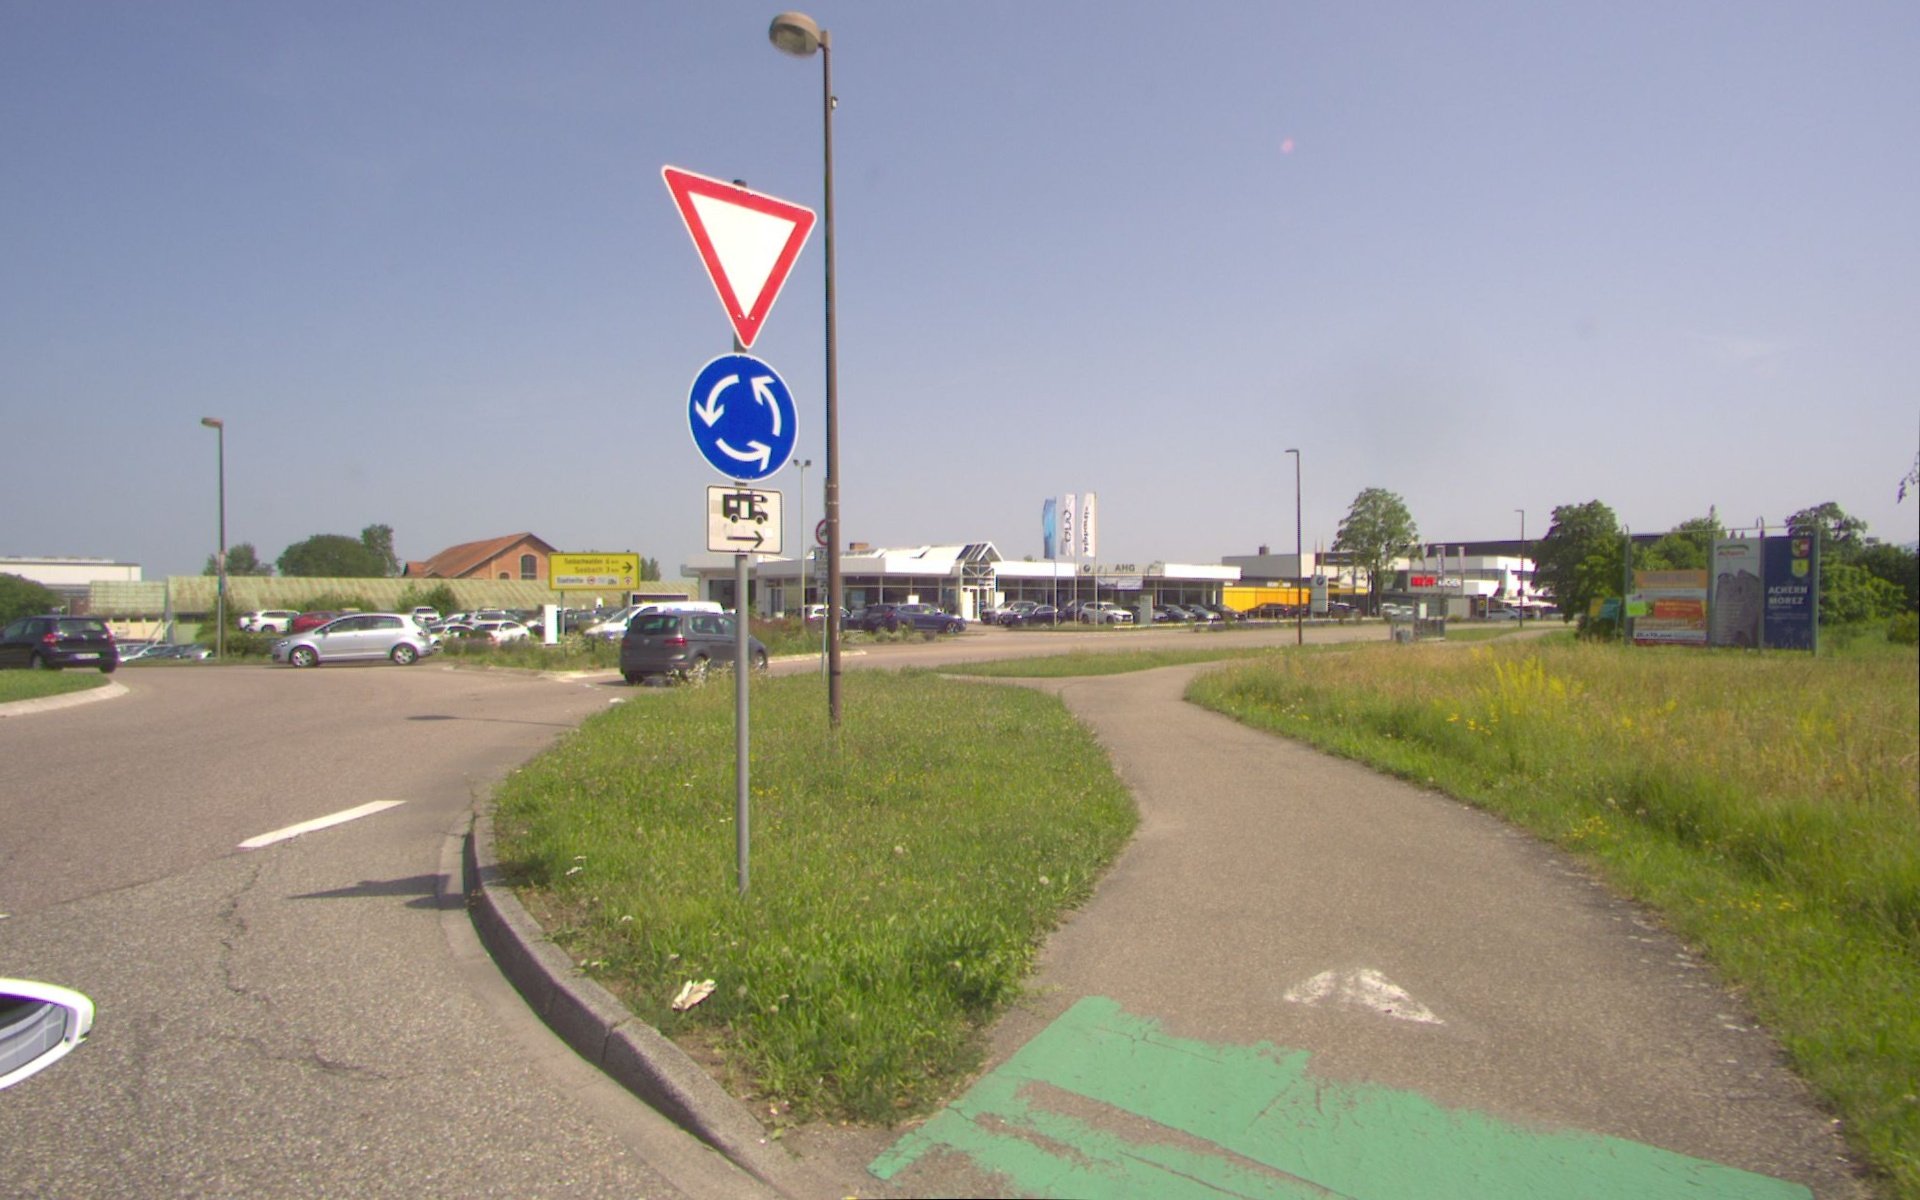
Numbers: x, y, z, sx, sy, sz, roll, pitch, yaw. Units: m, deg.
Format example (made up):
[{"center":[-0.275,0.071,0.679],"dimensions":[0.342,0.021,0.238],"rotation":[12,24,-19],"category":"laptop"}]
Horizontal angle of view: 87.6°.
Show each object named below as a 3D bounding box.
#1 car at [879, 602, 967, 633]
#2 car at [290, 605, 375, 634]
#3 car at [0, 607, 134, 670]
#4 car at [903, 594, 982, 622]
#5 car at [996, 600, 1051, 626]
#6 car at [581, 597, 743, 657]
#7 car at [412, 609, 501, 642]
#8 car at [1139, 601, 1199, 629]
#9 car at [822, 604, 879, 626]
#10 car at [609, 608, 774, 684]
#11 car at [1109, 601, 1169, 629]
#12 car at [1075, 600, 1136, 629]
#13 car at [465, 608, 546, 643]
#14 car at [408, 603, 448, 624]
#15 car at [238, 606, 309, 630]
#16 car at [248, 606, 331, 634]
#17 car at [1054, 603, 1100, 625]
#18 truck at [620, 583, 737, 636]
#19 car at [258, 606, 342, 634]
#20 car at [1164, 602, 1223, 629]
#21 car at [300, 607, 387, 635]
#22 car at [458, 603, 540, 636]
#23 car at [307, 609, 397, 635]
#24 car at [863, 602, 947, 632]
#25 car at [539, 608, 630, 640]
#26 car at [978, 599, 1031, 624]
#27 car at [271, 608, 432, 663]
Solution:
[{"center":[-1.947,0.871,51.620],"dimensions":[4.293,1.533,1.908],"rotation":[-1,0,-10],"category":"car"},{"center":[-40.804,1.257,65.202],"dimensions":[4.422,1.770,1.931],"rotation":[-1,0,-43],"category":"car"},{"center":[-23.750,1.019,26.464],"dimensions":[3.943,1.549,1.776],"rotation":[-2,-2,32],"category":"car"},{"center":[-1.032,0.442,57.974],"dimensions":[4.293,1.533,1.908],"rotation":[-1,0,-10],"category":"car"},{"center":[4.348,0.901,68.073],"dimensions":[3.657,1.675,1.569],"rotation":[1,-2,-40],"category":"car"},{"center":[-10.410,0.958,35.235],"dimensions":[5.167,1.962,1.848],"rotation":[1,-2,-37],"category":"car"},{"center":[-27.271,1.355,54.463],"dimensions":[1.736,1.591,4.572],"rotation":[-2,0,14],"category":"car"},{"center":[15.963,1.195,76.625],"dimensions":[1.977,2.039,4.229],"rotation":[1,-2,-38],"category":"car"},{"center":[-8.422,1.115,77.378],"dimensions":[3.992,1.607,1.895],"rotation":[-1,0,-37],"category":"car"},{"center":[-5.854,0.951,22.338],"dimensions":[1.741,1.504,4.036],"rotation":[0,0,15],"category":"car"},{"center":[13.414,1.153,75.121],"dimensions":[1.977,2.039,4.229],"rotation":[1,-2,-38],"category":"car"},{"center":[10.597,1.093,73.133],"dimensions":[1.977,2.039,4.229],"rotation":[1,-2,-38],"category":"car"},{"center":[-24.644,1.353,54.438],"dimensions":[1.734,1.592,4.661],"rotation":[-1,2,8],"category":"car"},{"center":[-41.458,1.051,78.040],"dimensions":[1.901,1.617,4.268],"rotation":[-1,0,-40],"category":"car"},{"center":[-47.249,1.237,68.931],"dimensions":[3.847,1.553,1.752],"rotation":[-1,0,-43],"category":"car"},{"center":[-45.214,1.305,67.530],"dimensions":[4.422,1.770,1.822],"rotation":[-1,0,-43],"category":"car"},{"center":[9.304,1.148,79.425],"dimensions":[3.657,1.675,1.569],"rotation":[1,-2,-40],"category":"car"},{"center":[-14.727,0.466,52.594],"dimensions":[5.558,2.700,1.935],"rotation":[-1,0,-37],"category":"truck"},{"center":[-43.478,1.304,66.024],"dimensions":[4.422,1.770,1.822],"rotation":[-1,0,-43],"category":"car"},{"center":[18.330,1.258,78.611],"dimensions":[1.977,2.039,4.229],"rotation":[1,-2,-38],"category":"car"},{"center":[-39.003,1.282,63.410],"dimensions":[4.422,1.656,1.931],"rotation":[-1,0,-43],"category":"car"},{"center":[-27.304,1.153,59.365],"dimensions":[3.966,1.774,1.931],"rotation":[-2,1,-43],"category":"car"},{"center":[-37.568,1.346,61.929],"dimensions":[4.422,1.520,1.931],"rotation":[-1,0,-43],"category":"car"},{"center":[-2.998,0.922,53.860],"dimensions":[4.293,1.533,1.908],"rotation":[-1,0,-10],"category":"car"},{"center":[-21.230,1.330,56.754],"dimensions":[4.379,1.520,1.932],"rotation":[-4,1,-43],"category":"car"},{"center":[3.163,0.839,70.622],"dimensions":[3.657,1.675,1.569],"rotation":[1,-2,-40],"category":"car"},{"center":[-18.217,1.075,30.198],"dimensions":[4.025,1.549,1.778],"rotation":[1,-2,-28],"category":"car"}]
